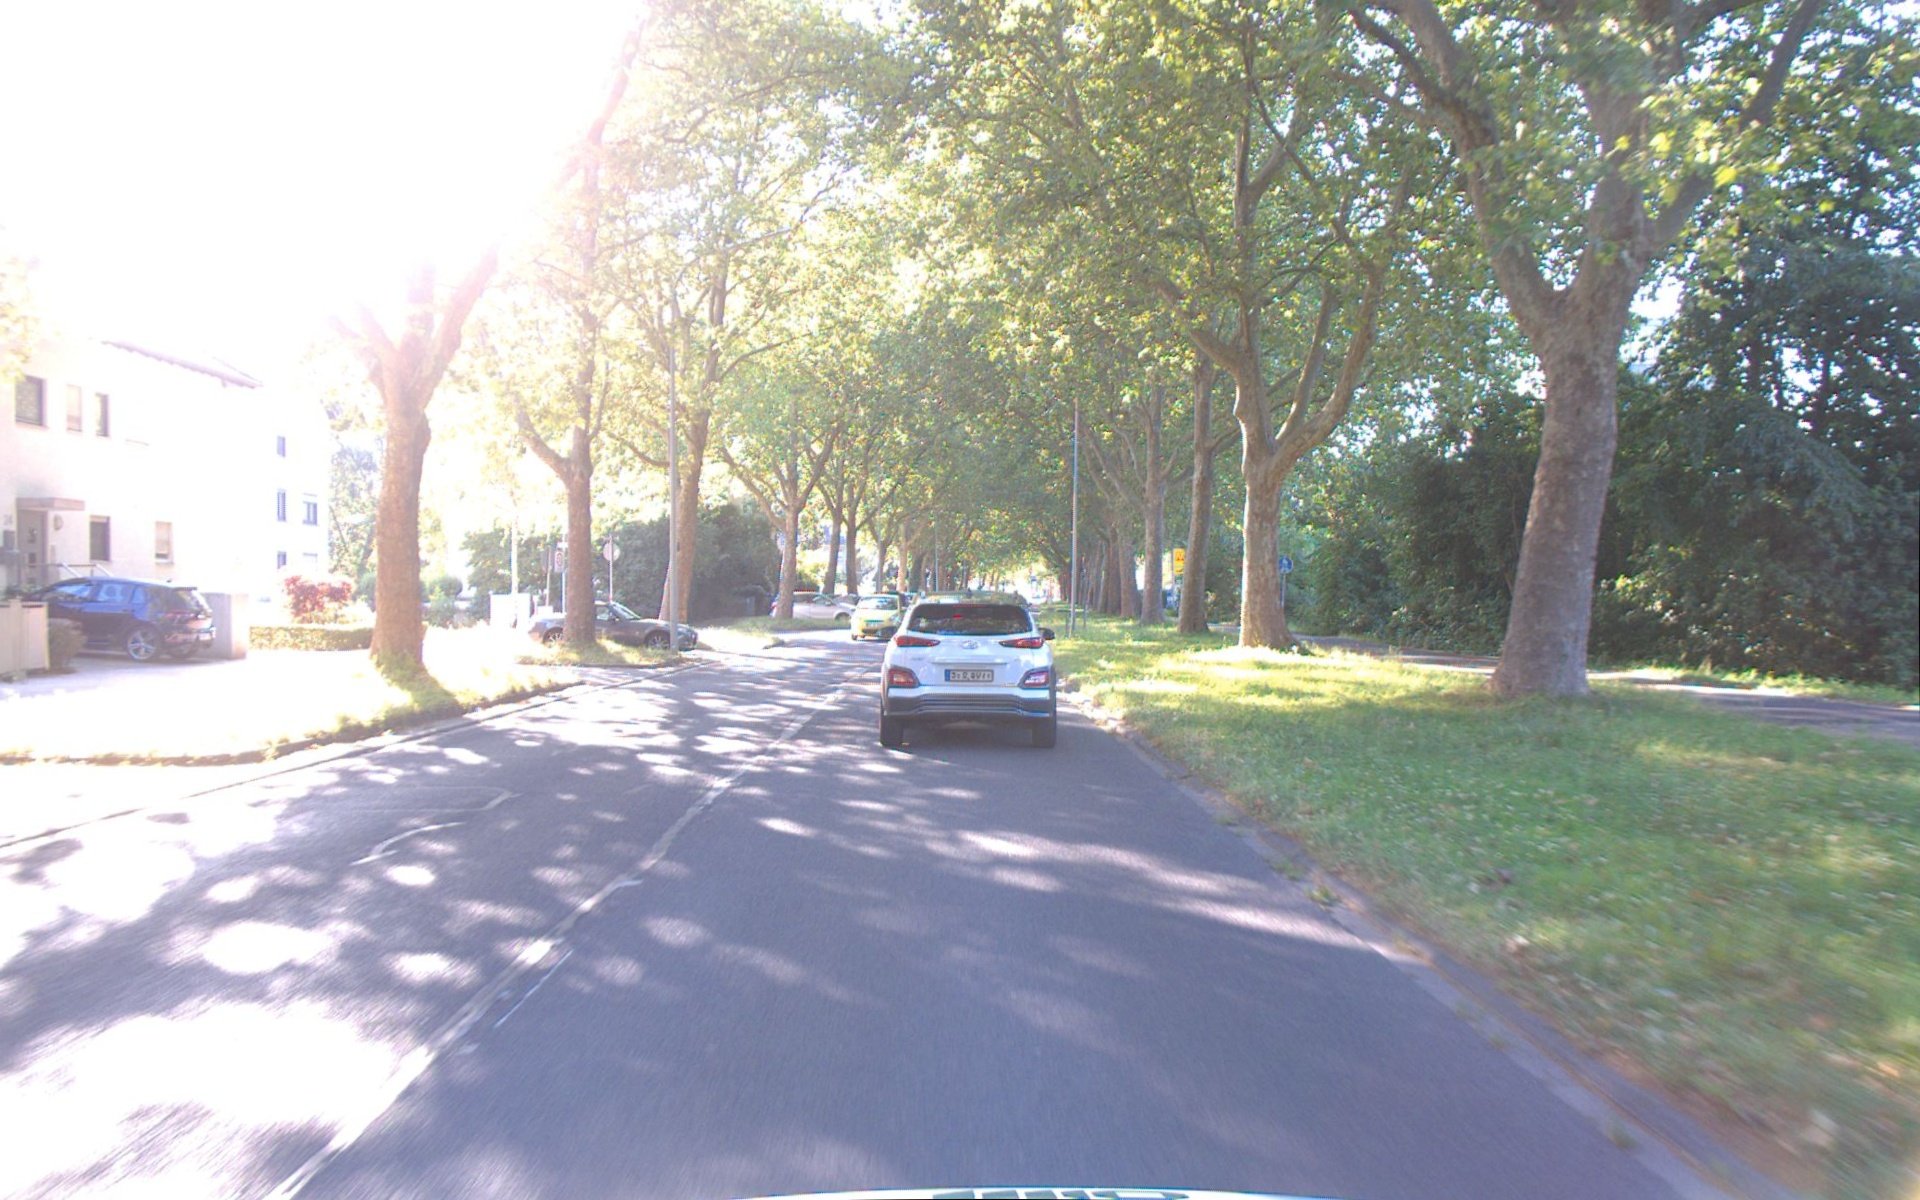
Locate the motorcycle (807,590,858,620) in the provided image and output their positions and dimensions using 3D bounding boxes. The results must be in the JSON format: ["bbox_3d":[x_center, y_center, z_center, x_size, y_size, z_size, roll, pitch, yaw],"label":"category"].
[{"bbox_3d":[-6.029,0.237,78.207,2.337,1.412,0.648,1,0,-3],"label":"motorcycle"}]

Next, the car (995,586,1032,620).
[{"bbox_3d":[2.782,0.145,86.321,1.642,1.725,3.744,1,0,-2],"label":"car"}]

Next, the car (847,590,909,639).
[{"bbox_3d":[-2.676,0.461,54.693,1.747,1.539,3.839,0,0,1],"label":"car"}]

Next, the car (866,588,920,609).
[{"bbox_3d":[-4.975,-0.127,123.451,3.904,1.546,1.809,0,0,1],"label":"car"}]

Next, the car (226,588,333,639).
[{"bbox_3d":[-22.429,0.415,54.673,1.953,1.602,3.999,1,0,-2],"label":"car"}]

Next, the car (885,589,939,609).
[{"bbox_3d":[-3.651,-0.094,125.738,3.903,1.496,1.810,0,0,4],"label":"car"}]

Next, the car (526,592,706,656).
[{"bbox_3d":[-7.900,0.538,38.239,3.747,1.339,1.790,2,0,-1],"label":"car"}]

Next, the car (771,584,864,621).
[{"bbox_3d":[-6.507,0.109,75.775,4.099,1.612,1.999,1,0,-2],"label":"car"}]

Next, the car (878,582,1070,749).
[{"bbox_3d":[0.040,0.638,17.948,1.799,1.583,3.997,1,0,-3],"label":"car"}]

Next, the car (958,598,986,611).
[{"bbox_3d":[1.650,0.617,232.170,3.907,1.803,1.999,1,0,-2],"label":"car"}]

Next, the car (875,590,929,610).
[{"bbox_3d":[-4.226,-0.028,120.689,3.906,1.449,1.809,0,0,-2],"label":"car"}]

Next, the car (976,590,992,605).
[{"bbox_3d":[2.364,-0.229,163.931,1.504,1.484,3.185,0,0,0],"label":"car"}]

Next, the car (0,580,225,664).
[{"bbox_3d":[-15.925,0.387,30.470,3.905,1.489,1.901,0,0,0],"label":"car"}]
